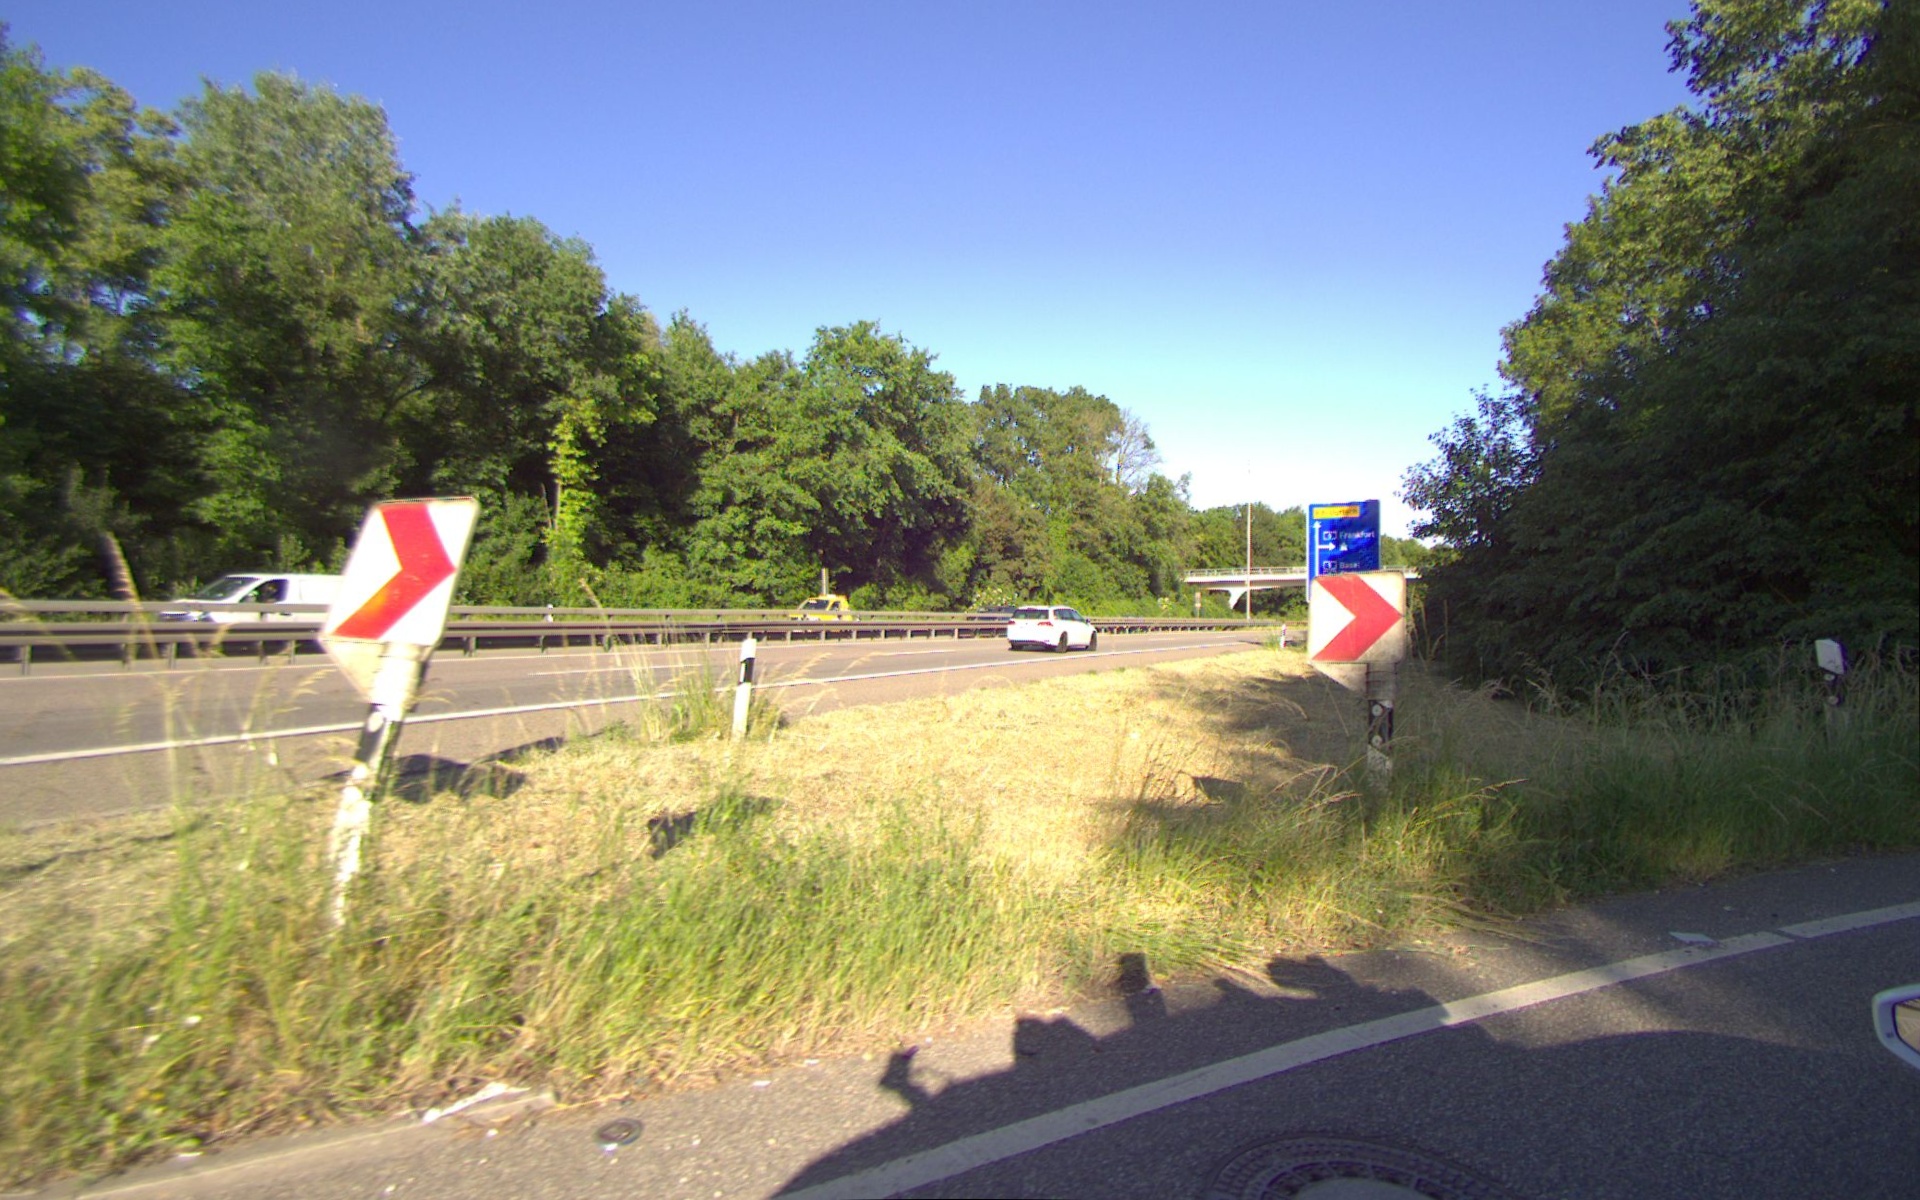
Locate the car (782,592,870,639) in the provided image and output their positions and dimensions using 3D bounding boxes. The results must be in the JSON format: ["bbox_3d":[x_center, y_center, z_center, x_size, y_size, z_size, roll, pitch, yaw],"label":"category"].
[{"bbox_3d":[-6.123,0.708,46.376,1.964,2.040,3.992,1,-1,30],"label":"car"}]

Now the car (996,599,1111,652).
[{"bbox_3d":[3.192,0.833,32.984,1.899,1.528,5.594,2,0,25],"label":"car"}]

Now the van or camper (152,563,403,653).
[{"bbox_3d":[-16.882,0.221,25.160,2.041,2.040,4.813,1,-1,27],"label":"van or camper"}]
